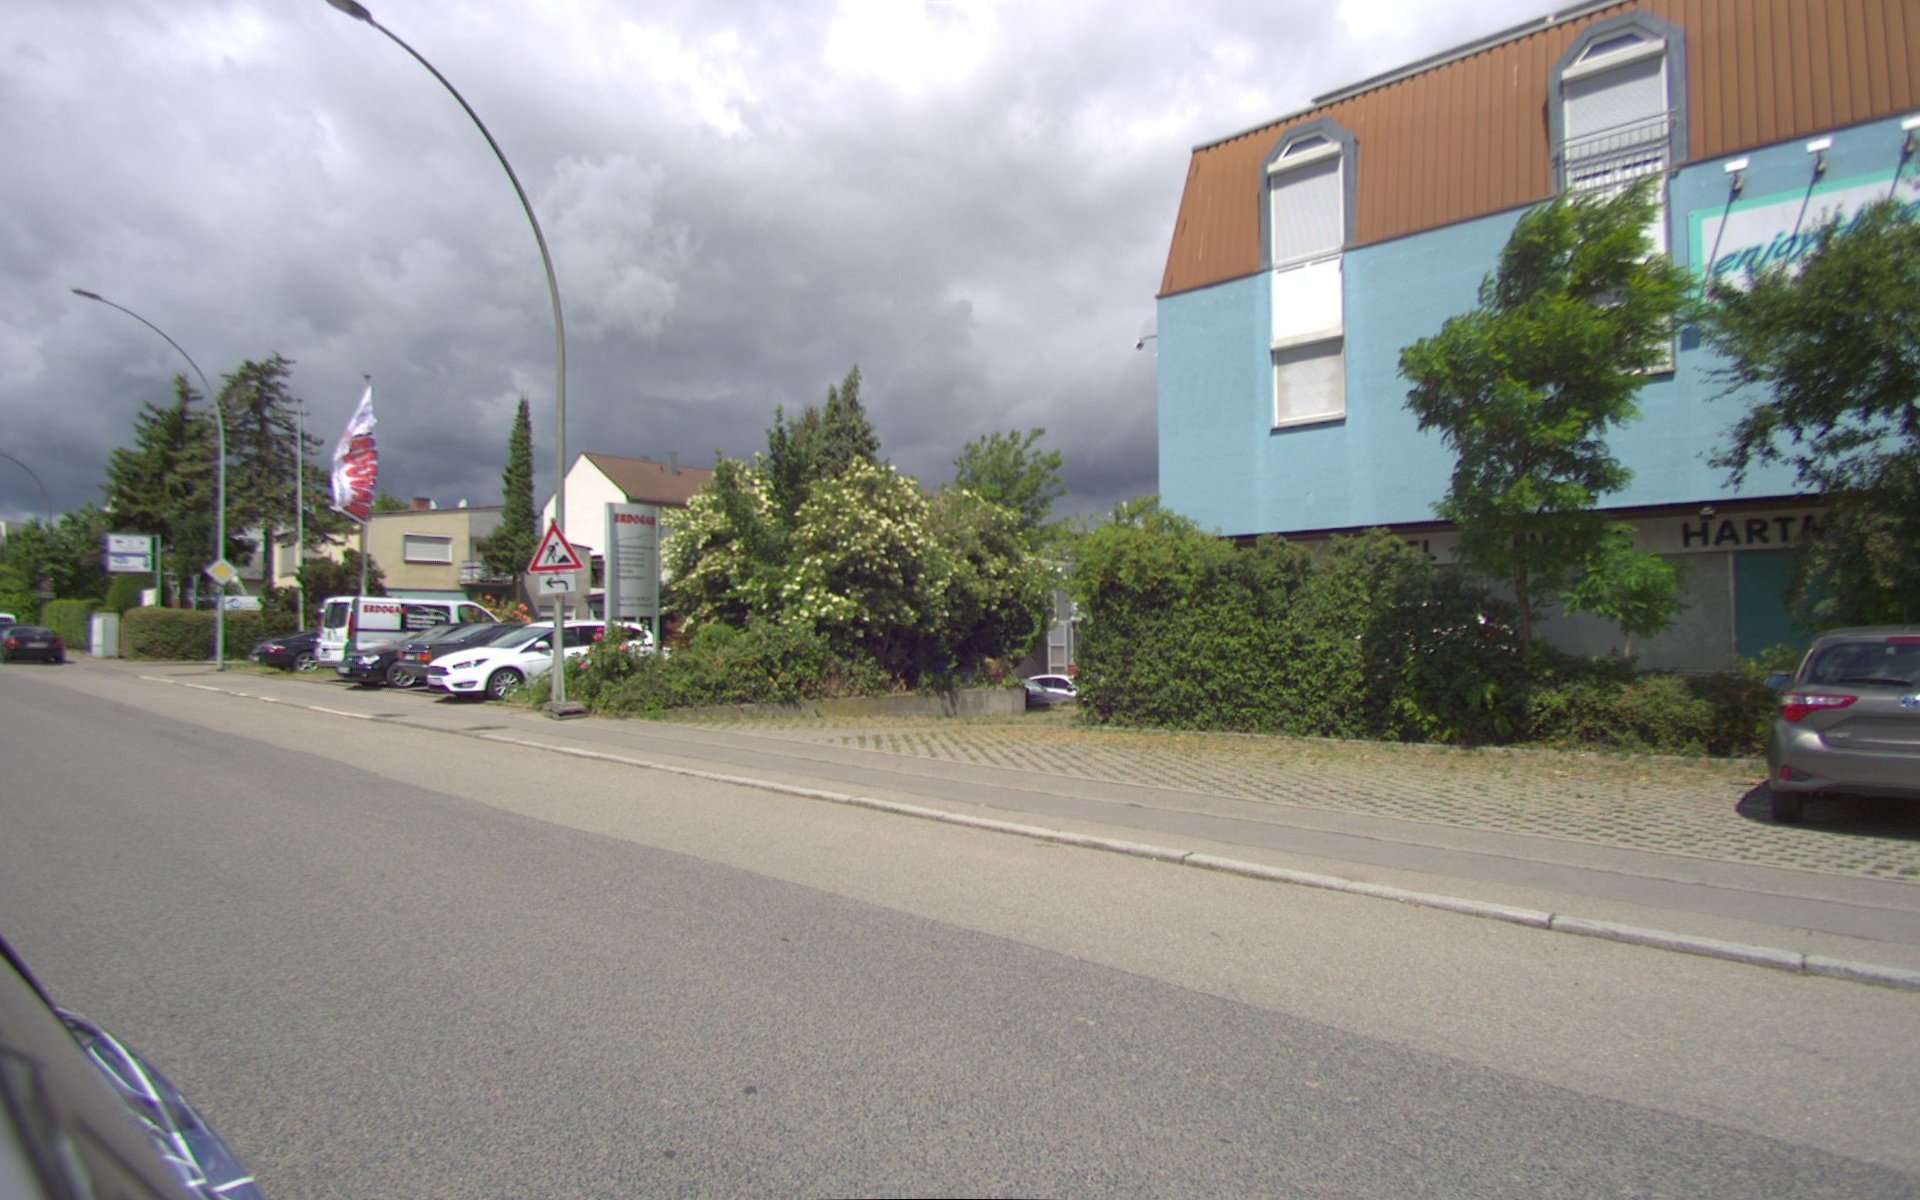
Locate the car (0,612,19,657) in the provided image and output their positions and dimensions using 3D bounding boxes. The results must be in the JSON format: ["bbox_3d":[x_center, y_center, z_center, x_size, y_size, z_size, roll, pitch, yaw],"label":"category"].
[{"bbox_3d":[-41.566,1.446,42.963,4.352,1.852,1.726,-2,-5,40],"label":"car"}]

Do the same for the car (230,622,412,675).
[{"bbox_3d":[-17.904,1.317,28.487,1.869,1.213,3.948,-2,0,39],"label":"car"}]

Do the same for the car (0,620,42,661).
[{"bbox_3d":[-37.321,1.573,39.317,4.640,1.483,1.726,-2,-5,40],"label":"car"}]

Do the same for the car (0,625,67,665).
[{"bbox_3d":[-33.609,1.612,36.309,4.112,1.314,1.614,-2,-5,39],"label":"car"}]

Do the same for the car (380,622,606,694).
[{"bbox_3d":[-9.803,1.165,21.442,1.871,1.365,3.943,-2,-2,43],"label":"car"}]

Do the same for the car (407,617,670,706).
[{"bbox_3d":[-8.025,1.094,19.580,1.871,1.489,4.329,0,-1,41],"label":"car"}]

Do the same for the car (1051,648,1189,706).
[{"bbox_3d":[4.325,1.982,26.960,1.997,1.398,3.949,-2,-3,37],"label":"car"}]

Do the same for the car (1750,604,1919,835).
[{"bbox_3d":[7.718,0.820,8.022,1.979,1.544,3.588,-2,-2,43],"label":"car"}]

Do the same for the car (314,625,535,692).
[{"bbox_3d":[-11.863,1.241,22.609,1.870,1.325,3.947,-1,-1,39],"label":"car"}]

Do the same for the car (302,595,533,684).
[{"bbox_3d":[-13.357,0.949,25.171,2.112,1.987,4.607,-2,-2,37],"label":"car"}]
